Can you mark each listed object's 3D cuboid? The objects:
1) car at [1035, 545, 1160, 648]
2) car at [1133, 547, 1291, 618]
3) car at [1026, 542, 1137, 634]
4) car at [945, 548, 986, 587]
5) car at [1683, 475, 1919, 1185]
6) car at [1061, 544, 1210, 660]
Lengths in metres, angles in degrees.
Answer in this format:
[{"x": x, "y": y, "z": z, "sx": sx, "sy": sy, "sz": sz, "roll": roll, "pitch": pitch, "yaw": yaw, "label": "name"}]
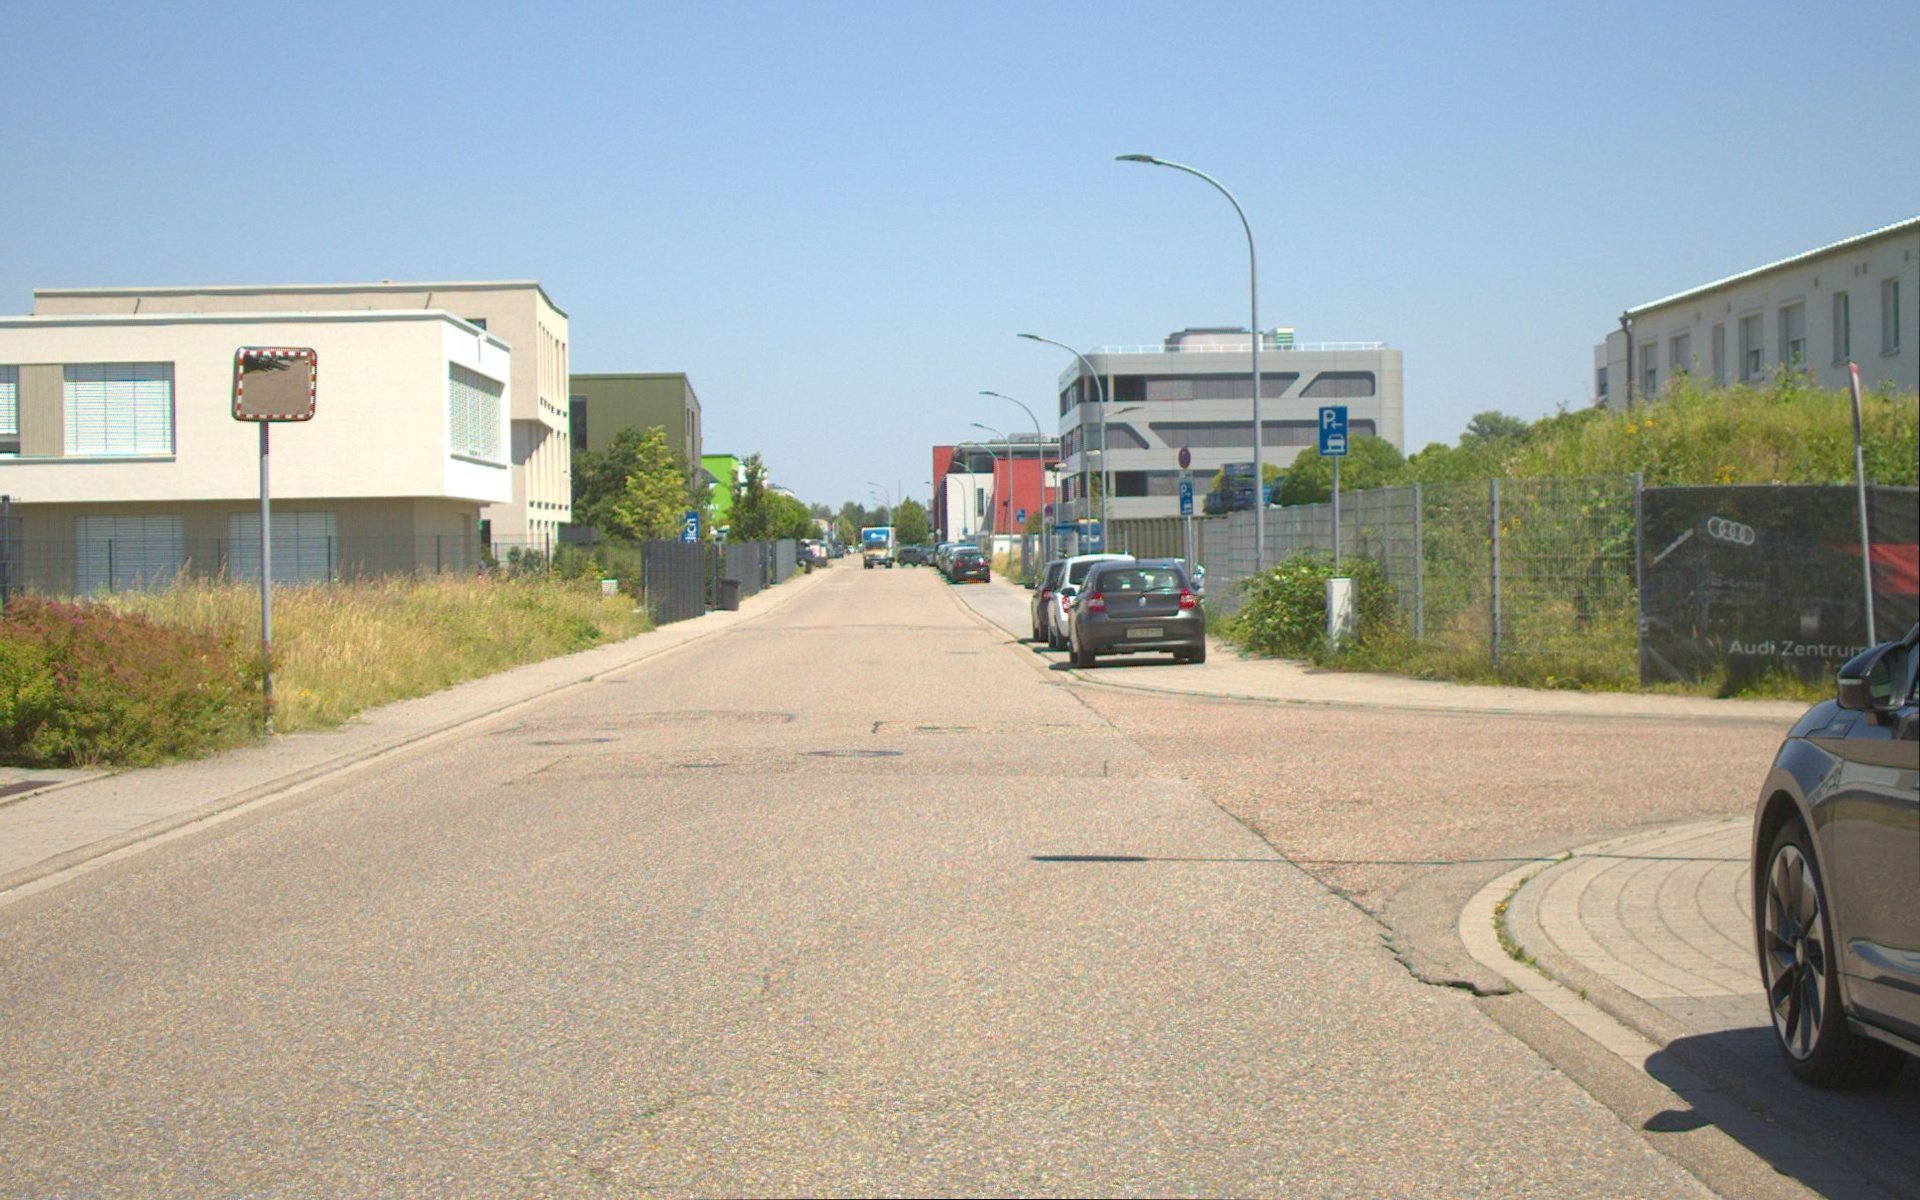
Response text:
[{"x": 2.223, "y": -0.091, "z": 55.999, "sx": 1.908, "sy": 1.541, "sz": 4.000, "roll": -2, "pitch": 1, "yaw": 2, "label": "car"}, {"x": 7.579, "y": -0.541, "z": 103.864, "sx": 4.625, "sy": 2.007, "sz": 2.606, "roll": 1, "pitch": 1, "yaw": 2, "label": "car"}, {"x": 2.198, "y": -0.240, "z": 62.456, "sx": 1.908, "sy": 1.541, "sz": 4.000, "roll": -2, "pitch": 1, "yaw": 2, "label": "car"}, {"x": 0.257, "y": -1.506, "z": 158.094, "sx": 1.776, "sy": 1.722, "sz": 4.000, "roll": 1, "pitch": 1, "yaw": -1, "label": "car"}, {"x": 3.119, "y": 0.506, "z": 7.733, "sx": 1.803, "sy": 1.656, "sz": 4.609, "roll": -3, "pitch": 1, "yaw": -2, "label": "car"}, {"x": 2.358, "y": -0.011, "z": 47.088, "sx": 1.908, "sy": 1.443, "sz": 4.000, "roll": -2, "pitch": 1, "yaw": 2, "label": "car"}]
